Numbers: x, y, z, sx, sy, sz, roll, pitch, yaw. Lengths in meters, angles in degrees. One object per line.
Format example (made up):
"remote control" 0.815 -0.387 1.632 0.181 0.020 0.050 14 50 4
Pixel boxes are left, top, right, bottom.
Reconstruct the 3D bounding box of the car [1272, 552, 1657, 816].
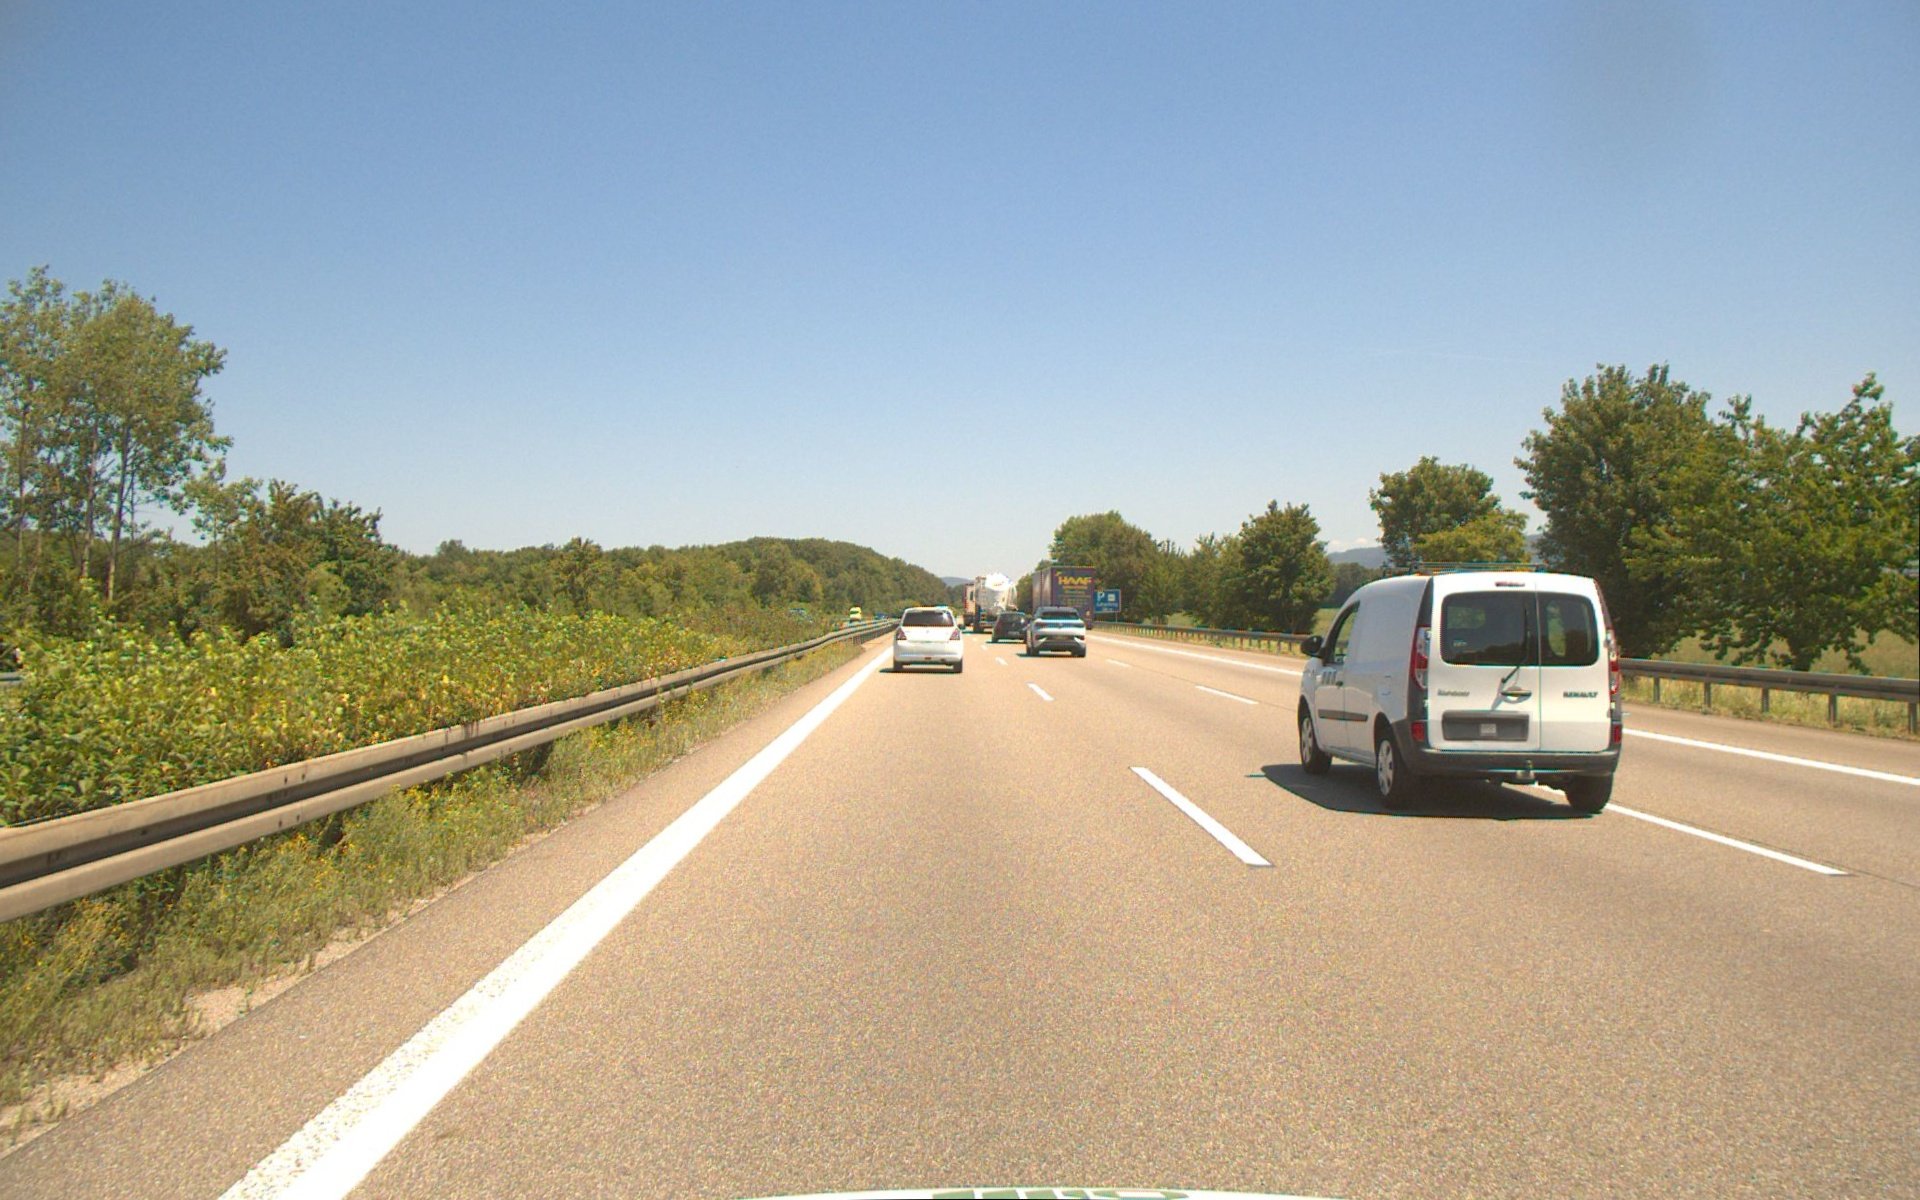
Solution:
"car" 4.121 0.623 14.388 1.815 1.895 4.701 1 0 -1

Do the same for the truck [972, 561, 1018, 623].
"truck" 2.375 -0.536 114.967 2.853 4.151 7.193 1 0 -1

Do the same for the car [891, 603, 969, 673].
"car" -0.735 0.890 39.995 1.763 1.579 3.609 1 0 -1

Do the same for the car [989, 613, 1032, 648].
"car" 2.304 1.380 76.445 1.813 1.549 3.956 1 0 -1

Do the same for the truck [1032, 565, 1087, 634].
"truck" 6.377 -0.010 107.247 3.045 4.211 8.055 1 0 0

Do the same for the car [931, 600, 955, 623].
"car" -1.795 1.269 177.202 2.424 2.395 5.181 1 0 0

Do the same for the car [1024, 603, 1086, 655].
"car" 3.138 0.936 55.240 1.765 1.631 4.380 1 0 -1

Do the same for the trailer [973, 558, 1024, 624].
"trailer" 2.488 -0.547 111.379 2.852 4.140 12.415 1 0 -1

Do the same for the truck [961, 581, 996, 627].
"truck" 1.761 0.438 163.773 3.325 4.288 12.082 1 0 0

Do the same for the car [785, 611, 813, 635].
"car" -14.217 2.023 146.394 2.000 1.958 5.225 -3 0 -1

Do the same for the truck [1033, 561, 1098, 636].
"truck" 6.344 -0.042 101.923 3.045 4.211 15.510 1 0 0
